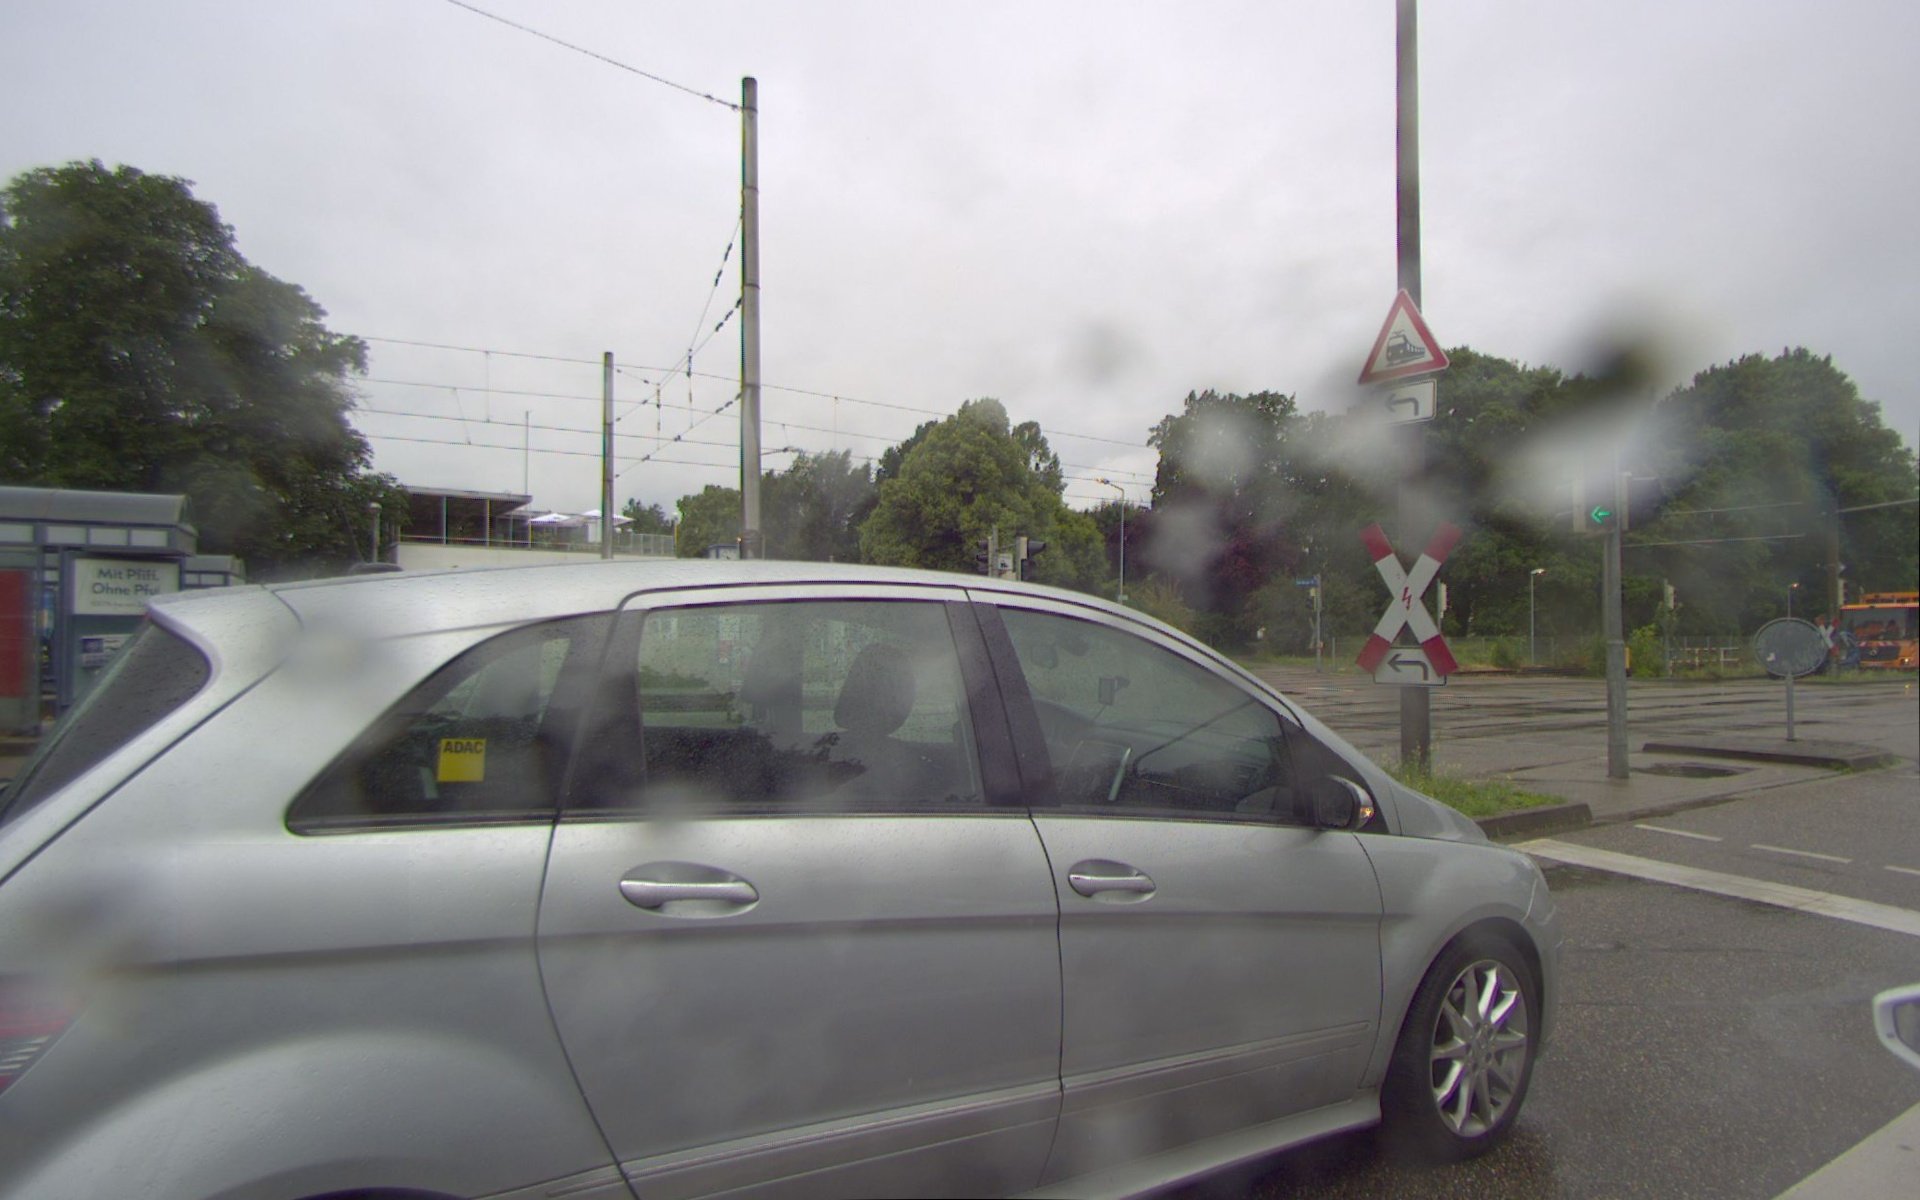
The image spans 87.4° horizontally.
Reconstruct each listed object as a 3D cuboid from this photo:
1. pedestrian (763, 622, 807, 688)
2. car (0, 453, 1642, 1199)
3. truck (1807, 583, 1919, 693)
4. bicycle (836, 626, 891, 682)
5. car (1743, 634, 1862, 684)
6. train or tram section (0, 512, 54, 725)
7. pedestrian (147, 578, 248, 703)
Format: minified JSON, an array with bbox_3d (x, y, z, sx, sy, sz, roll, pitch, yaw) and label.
[{"bbox_3d":[-4.553,1.413,26.129,0.790,1.679,0.781,1,0,31],"label":"pedestrian"},{"bbox_3d":[-0.037,0.657,2.813,3.967,1.564,1.728,1,-1,-31],"label":"car"},{"bbox_3d":[40.252,1.568,42.676,10.288,4.223,3.367,2,0,-31],"label":"truck"},{"bbox_3d":[-3.179,1.765,33.180,1.714,1.784,0.637,1,-2,-30],"label":"bicycle"},{"bbox_3d":[31.548,2.179,37.606,4.473,1.732,1.984,2,0,-30],"label":"car"},{"bbox_3d":[-19.958,0.261,14.793,9.166,3.434,3.518,1,-2,-30],"label":"train or tram section"},{"bbox_3d":[-10.743,0.556,14.194,0.985,1.698,0.920,1,0,-29],"label":"pedestrian"}]
